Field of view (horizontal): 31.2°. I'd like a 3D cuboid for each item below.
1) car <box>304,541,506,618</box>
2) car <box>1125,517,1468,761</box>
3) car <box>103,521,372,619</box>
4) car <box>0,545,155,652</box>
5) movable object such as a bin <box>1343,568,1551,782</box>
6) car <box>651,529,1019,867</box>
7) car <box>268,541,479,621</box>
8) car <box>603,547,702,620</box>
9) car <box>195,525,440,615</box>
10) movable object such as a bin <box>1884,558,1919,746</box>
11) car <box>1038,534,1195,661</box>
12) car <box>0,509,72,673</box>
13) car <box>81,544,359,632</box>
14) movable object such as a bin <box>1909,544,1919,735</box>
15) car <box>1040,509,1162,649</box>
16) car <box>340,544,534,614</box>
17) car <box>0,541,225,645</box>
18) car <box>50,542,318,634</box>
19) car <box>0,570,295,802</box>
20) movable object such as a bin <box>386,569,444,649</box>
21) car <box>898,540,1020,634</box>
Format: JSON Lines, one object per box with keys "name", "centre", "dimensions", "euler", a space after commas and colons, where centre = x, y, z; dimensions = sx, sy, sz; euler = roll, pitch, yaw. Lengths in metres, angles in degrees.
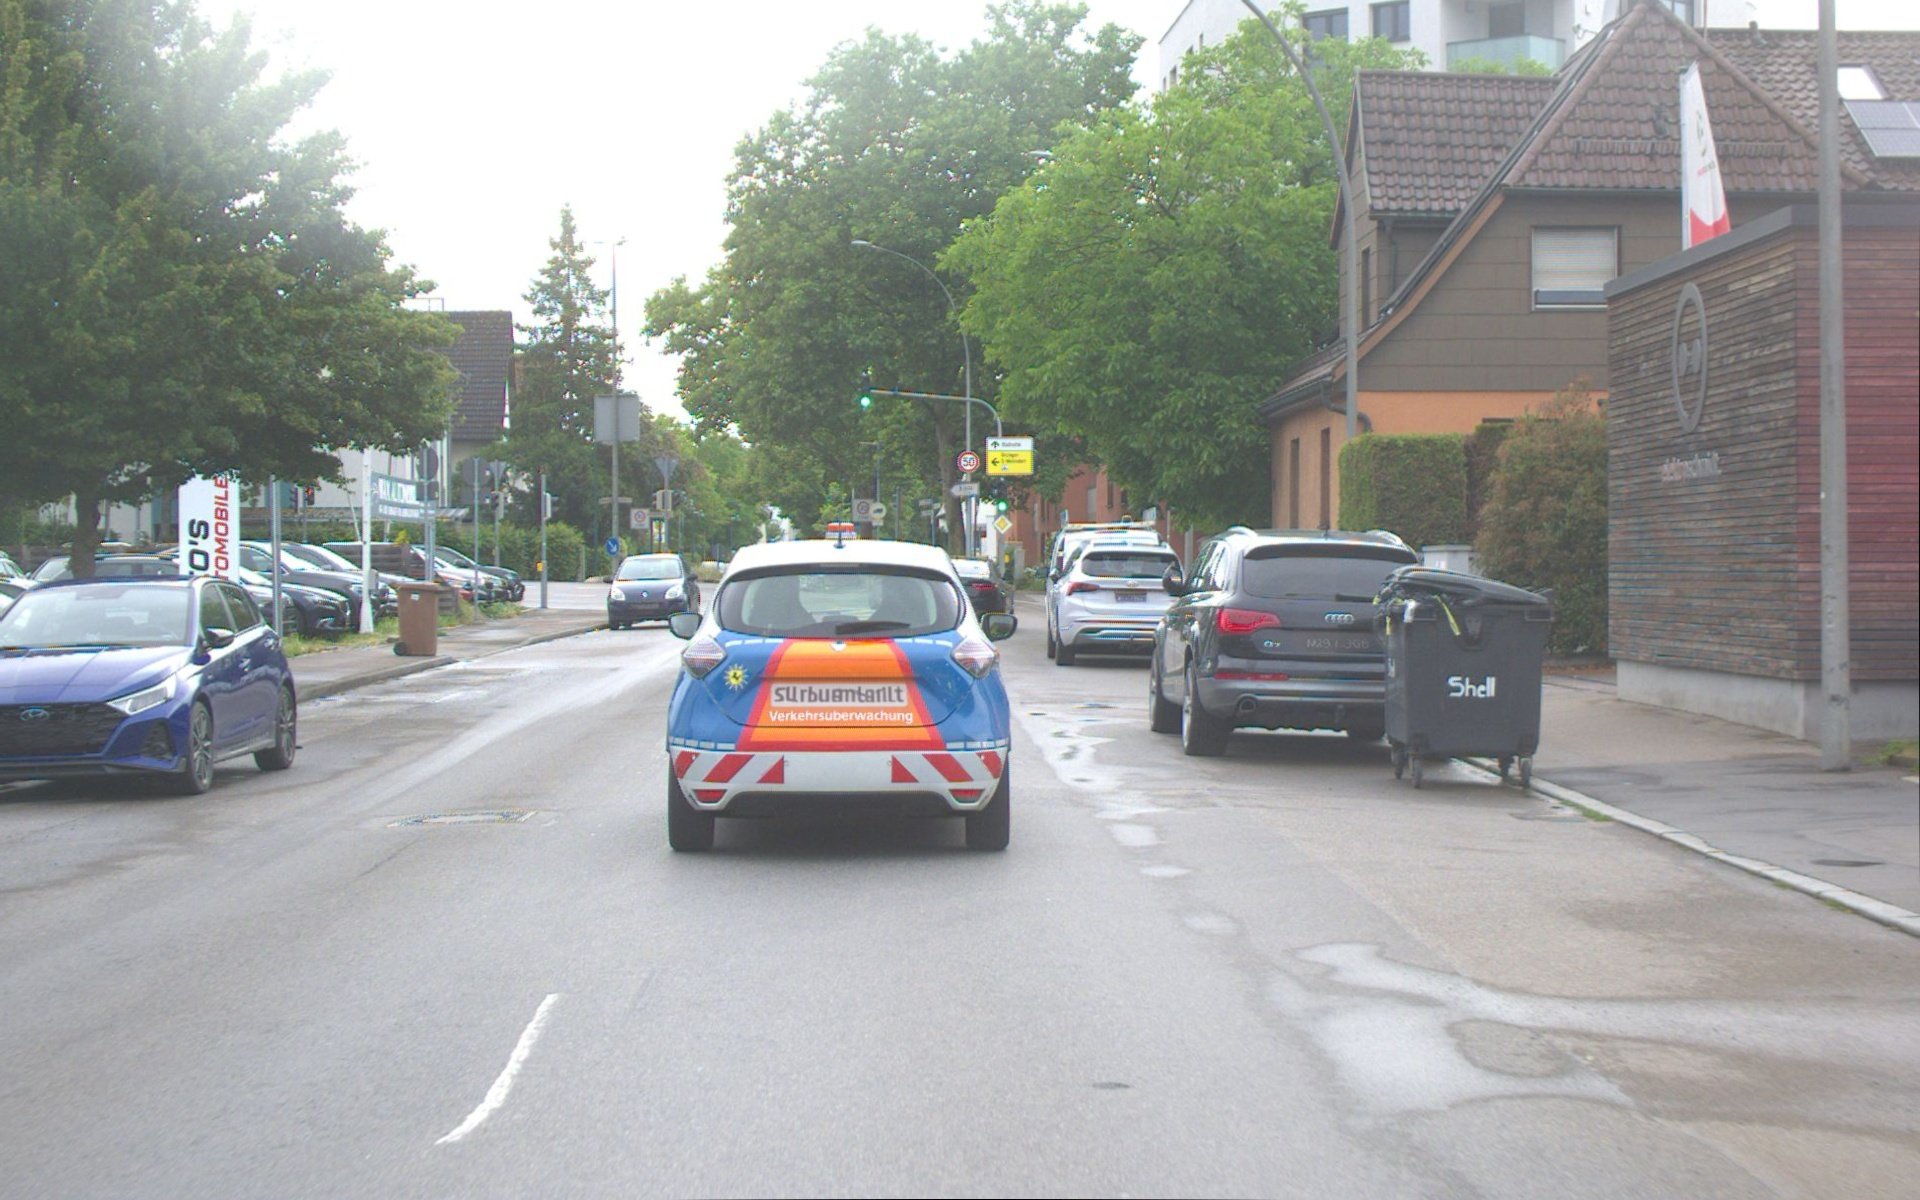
{"name": "car", "centre": [-11.864, -0.445, 73.676], "dimensions": [3.987, 1.538, 1.803], "euler": [1, 1, 2]}
{"name": "car", "centre": [2.505, 0.224, 26.773], "dimensions": [2.091, 1.656, 4.559], "euler": [1, 2, -1]}
{"name": "car", "centre": [-12.826, -0.549, 61.231], "dimensions": [4.347, 1.685, 2.059], "euler": [0, 1, 0]}
{"name": "car", "centre": [-12.533, -0.034, 42.895], "dimensions": [4.557, 1.305, 1.889], "euler": [0, 1, -1]}
{"name": "movable object such as a bin", "centre": [3.279, 0.487, 23.302], "dimensions": [1.126, 1.383, 1.504], "euler": [0, 1, -3]}
{"name": "car", "centre": [-0.635, 0.428, 18.431], "dimensions": [1.745, 1.575, 4.001], "euler": [0, 2, -1]}
{"name": "car", "centre": [-12.062, -0.410, 70.878], "dimensions": [3.987, 1.538, 1.803], "euler": [1, 1, 2]}
{"name": "car", "centre": [-6.222, -0.349, 69.807], "dimensions": [1.626, 1.428, 3.683], "euler": [0, 1, 1]}
{"name": "car", "centre": [-12.316, -0.587, 66.118], "dimensions": [4.347, 1.684, 1.959], "euler": [0, 1, 0]}
{"name": "movable object such as a bin", "centre": [7.392, 0.369, 24.644], "dimensions": [1.101, 1.335, 1.385], "euler": [0, 1, -3]}
{"name": "car", "centre": [2.119, -0.068, 47.712], "dimensions": [1.865, 1.659, 4.320], "euler": [1, 1, -1]}
{"name": "car", "centre": [-12.370, -0.103, 38.275], "dimensions": [4.556, 1.784, 1.898], "euler": [0, 1, -5]}
{"name": "car", "centre": [-12.610, -0.214, 58.771], "dimensions": [4.347, 1.459, 1.941], "euler": [0, 1, 0]}
{"name": "movable object such as a bin", "centre": [7.266, 0.283, 23.528], "dimensions": [1.101, 1.335, 1.385], "euler": [0, 1, -3]}
{"name": "car", "centre": [2.170, -0.372, 53.743], "dimensions": [1.778, 2.022, 4.754], "euler": [1, 2, 2]}
{"name": "car", "centre": [-11.596, -0.481, 76.402], "dimensions": [3.987, 1.436, 1.803], "euler": [1, 1, 2]}
{"name": "car", "centre": [-12.278, -0.104, 46.256], "dimensions": [4.376, 1.369, 1.889], "euler": [0, 1, -1]}
{"name": "car", "centre": [-12.670, -0.211, 56.289], "dimensions": [3.987, 1.459, 1.839], "euler": [0, 1, 0]}
{"name": "car", "centre": [-5.831, 0.531, 23.566], "dimensions": [1.806, 1.398, 3.945], "euler": [-1, 1, -1]}
{"name": "movable object such as a bin", "centre": [-7.777, 0.123, 49.078], "dimensions": [0.708, 1.126, 0.735], "euler": [1, 1, 0]}
{"name": "car", "centre": [-0.052, -0.265, 63.282], "dimensions": [1.993, 1.568, 4.001], "euler": [1, 2, -3]}
